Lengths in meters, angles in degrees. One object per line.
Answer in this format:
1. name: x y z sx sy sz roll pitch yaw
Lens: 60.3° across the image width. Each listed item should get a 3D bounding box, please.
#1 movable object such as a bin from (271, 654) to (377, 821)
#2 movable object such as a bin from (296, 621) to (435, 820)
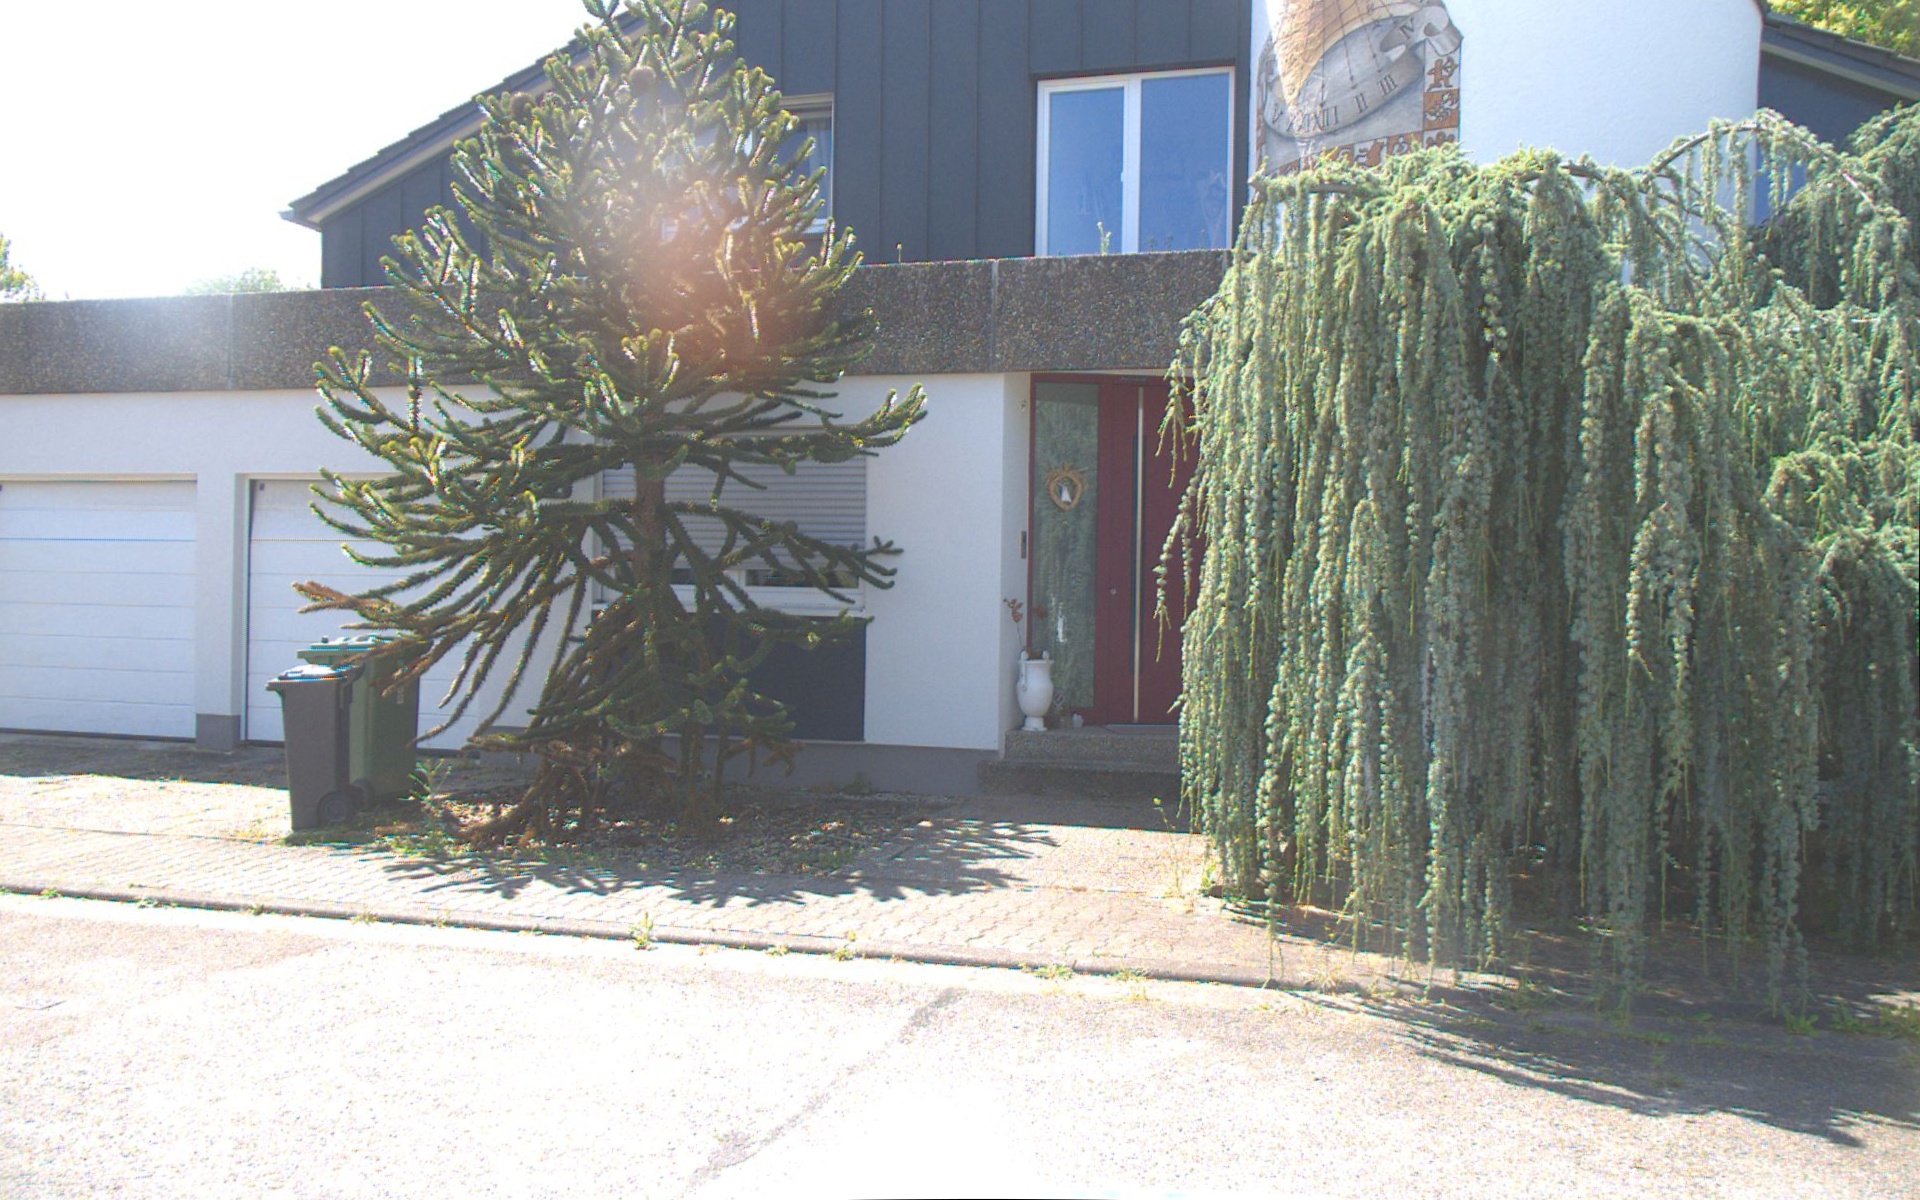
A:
1. movable object such as a bin: -3.835 0.822 9.993 0.513 0.966 0.388 1 0 -10
2. movable object such as a bin: -3.836 0.755 10.689 0.618 1.224 0.551 1 0 17
